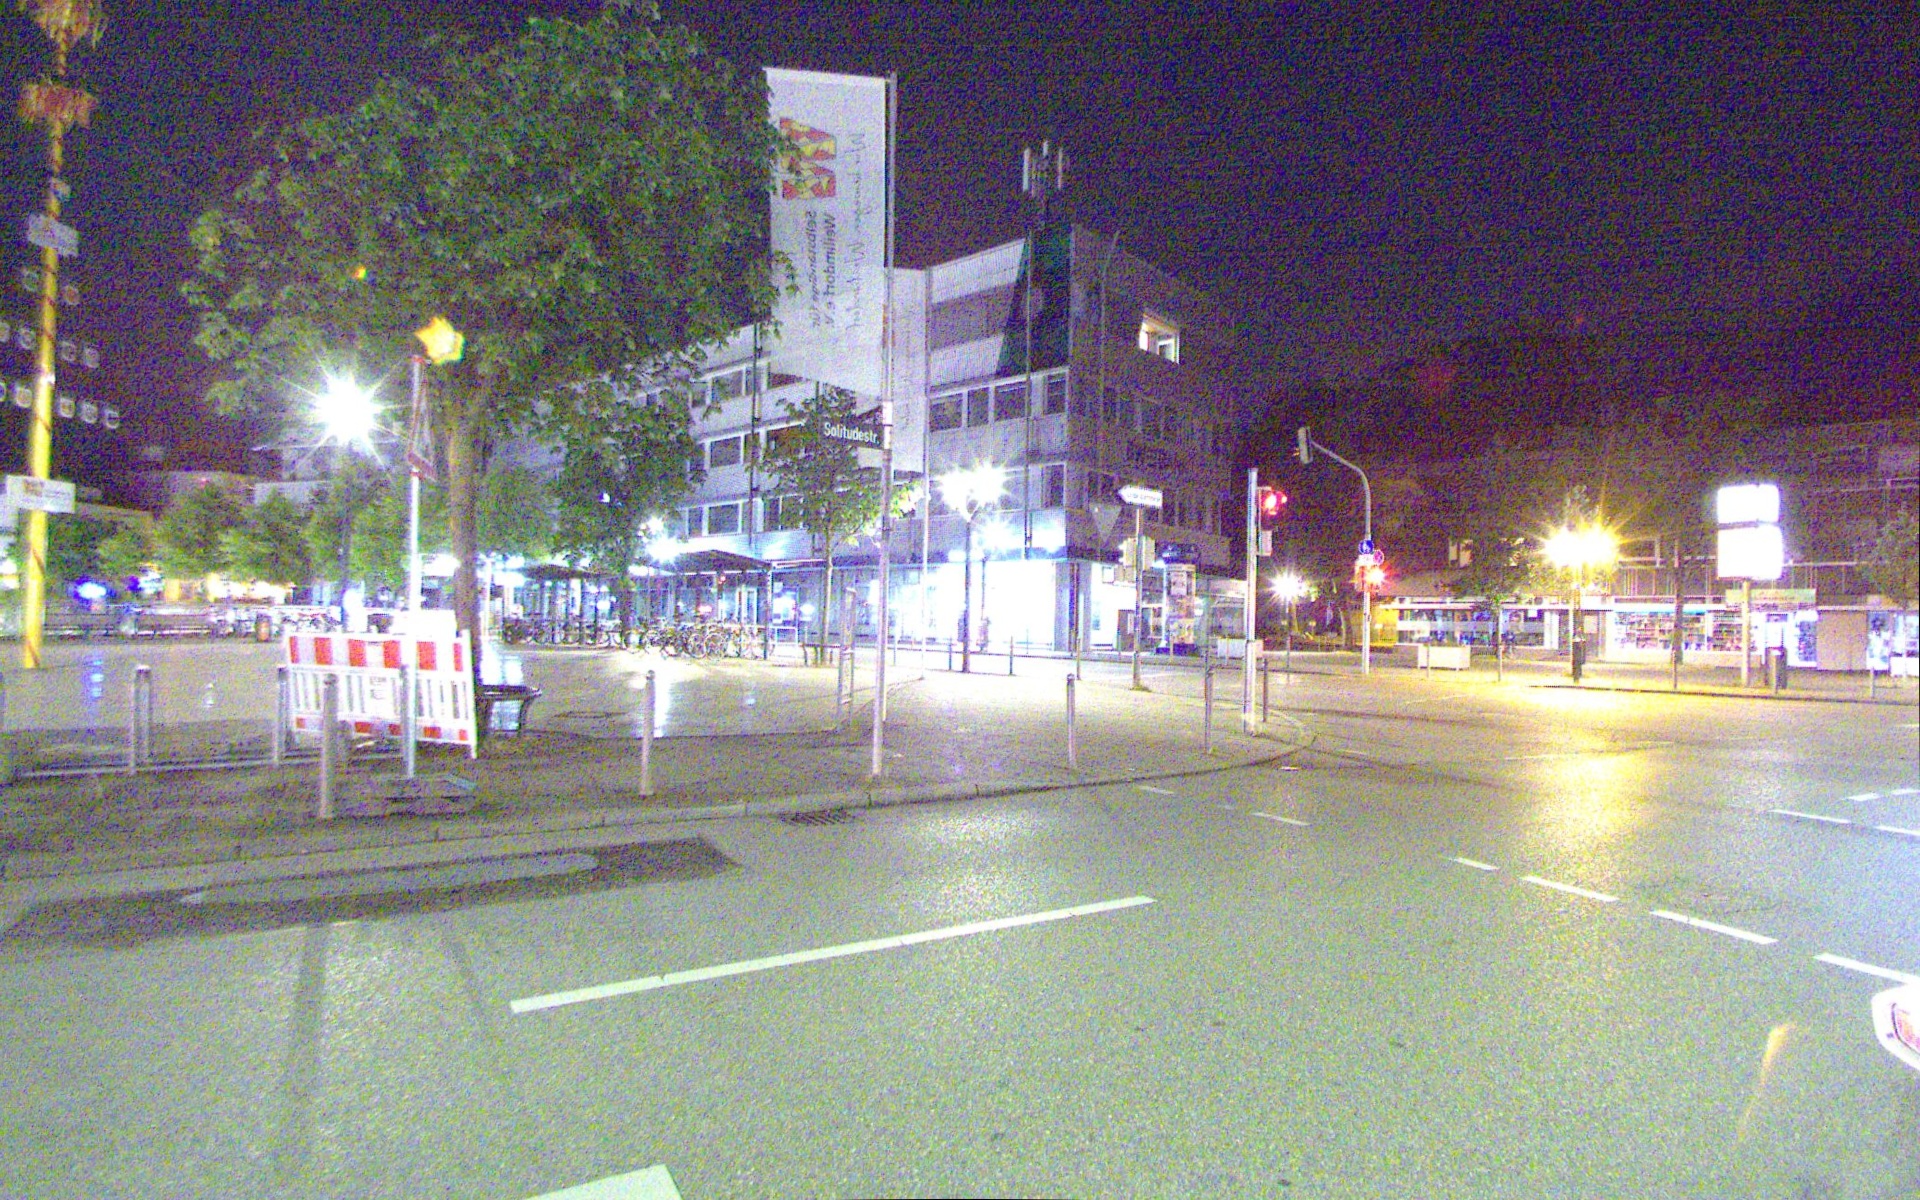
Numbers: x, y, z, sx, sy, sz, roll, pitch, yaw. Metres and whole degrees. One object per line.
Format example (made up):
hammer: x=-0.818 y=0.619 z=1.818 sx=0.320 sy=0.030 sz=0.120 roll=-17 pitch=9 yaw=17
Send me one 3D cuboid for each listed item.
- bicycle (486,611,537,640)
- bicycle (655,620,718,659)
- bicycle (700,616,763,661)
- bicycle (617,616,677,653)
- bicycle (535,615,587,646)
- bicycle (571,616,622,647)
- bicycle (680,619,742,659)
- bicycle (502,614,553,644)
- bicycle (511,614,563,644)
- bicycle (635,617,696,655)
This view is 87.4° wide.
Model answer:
bicycle: x=-15.558 y=0.883 z=34.877 sx=0.473 sy=0.970 sz=1.525 roll=2 pitch=0 yaw=43
bicycle: x=-7.107 y=1.017 z=26.129 sx=0.473 sy=0.970 sz=1.525 roll=2 pitch=0 yaw=43
bicycle: x=-5.657 y=0.948 z=24.919 sx=0.440 sy=1.068 sz=1.525 roll=2 pitch=0 yaw=43
bicycle: x=-8.537 y=0.942 z=27.417 sx=0.473 sy=0.970 sz=1.525 roll=2 pitch=0 yaw=43
bicycle: x=-13.154 y=1.002 z=33.106 sx=0.473 sy=0.970 sz=1.525 roll=2 pitch=0 yaw=43
bicycle: x=-11.965 y=1.038 z=33.094 sx=0.473 sy=0.970 sz=1.525 roll=2 pitch=0 yaw=43
bicycle: x=-6.322 y=0.981 z=25.590 sx=0.440 sy=0.970 sz=1.525 roll=2 pitch=0 yaw=43
bicycle: x=-14.787 y=0.998 z=34.345 sx=0.473 sy=0.970 sz=1.525 roll=2 pitch=0 yaw=43
bicycle: x=-14.191 y=0.988 z=33.732 sx=0.473 sy=0.970 sz=1.525 roll=2 pitch=0 yaw=43
bicycle: x=-7.857 y=0.960 z=26.817 sx=0.473 sy=0.970 sz=1.525 roll=2 pitch=0 yaw=43
